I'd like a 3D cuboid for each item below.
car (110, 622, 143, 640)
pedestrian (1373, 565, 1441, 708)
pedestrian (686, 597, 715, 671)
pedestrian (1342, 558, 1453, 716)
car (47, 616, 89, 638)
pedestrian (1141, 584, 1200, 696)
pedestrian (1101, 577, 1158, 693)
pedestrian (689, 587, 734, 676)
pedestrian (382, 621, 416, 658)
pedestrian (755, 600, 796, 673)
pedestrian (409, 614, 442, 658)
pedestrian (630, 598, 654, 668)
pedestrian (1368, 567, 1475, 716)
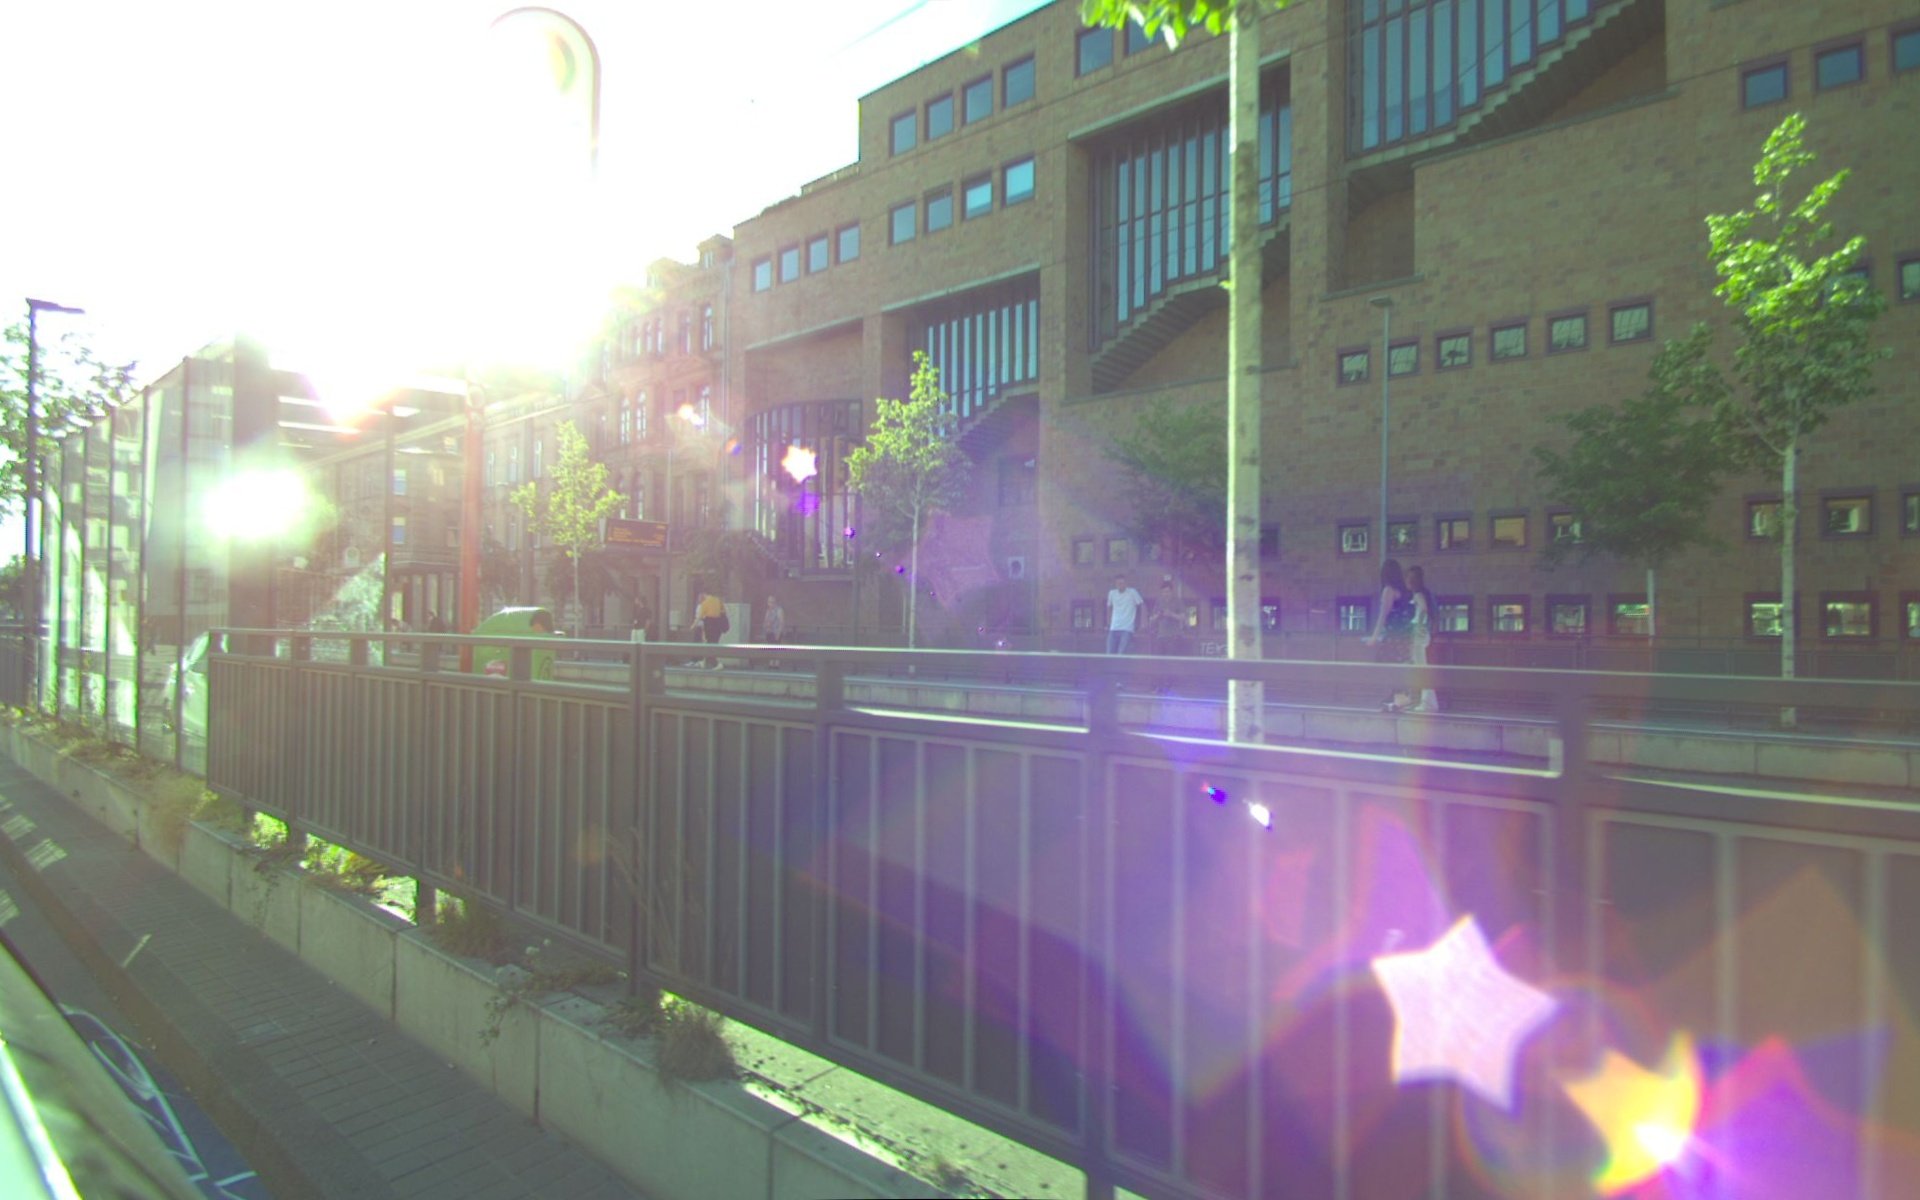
[{"bbox_3d":[-82.011,3.029,99.563,4.544,1.671,1.917,-1,0,43],"label":"car"},{"bbox_3d":[5.634,0.448,12.763,0.616,1.751,0.575,-1,-1,41],"label":"pedestrian"},{"bbox_3d":[-5.853,0.763,22.838,0.553,1.633,0.374,-1,0,42],"label":"pedestrian"},{"bbox_3d":[4.801,0.390,11.108,0.945,1.655,0.633,-1,0,42],"label":"pedestrian"},{"bbox_3d":[-80.261,2.417,91.034,4.577,1.894,1.975,-1,1,38],"label":"car"},{"bbox_3d":[3.139,0.583,15.068,0.616,1.624,0.616,-1,-1,41],"label":"pedestrian"},{"bbox_3d":[2.611,0.531,15.613,0.616,1.728,0.616,-1,-1,41],"label":"pedestrian"},{"bbox_3d":[-4.887,0.607,19.876,0.541,1.708,0.633,-1,0,41],"label":"pedestrian"},{"bbox_3d":[-18.165,1.280,32.747,0.721,1.177,0.713,-1,-4,41],"label":"pedestrian"},{"bbox_3d":[-3.827,0.749,20.976,0.642,1.470,0.533,-1,0,42],"label":"pedestrian"},{"bbox_3d":[-16.606,1.117,31.437,0.721,1.319,0.639,-1,-4,41],"label":"pedestrian"},{"bbox_3d":[-7.714,0.792,24.568,0.416,1.661,0.374,-1,0,41],"label":"pedestrian"},{"bbox_3d":[5.270,0.456,11.567,0.945,1.620,0.633,-1,0,42],"label":"pedestrian"}]
